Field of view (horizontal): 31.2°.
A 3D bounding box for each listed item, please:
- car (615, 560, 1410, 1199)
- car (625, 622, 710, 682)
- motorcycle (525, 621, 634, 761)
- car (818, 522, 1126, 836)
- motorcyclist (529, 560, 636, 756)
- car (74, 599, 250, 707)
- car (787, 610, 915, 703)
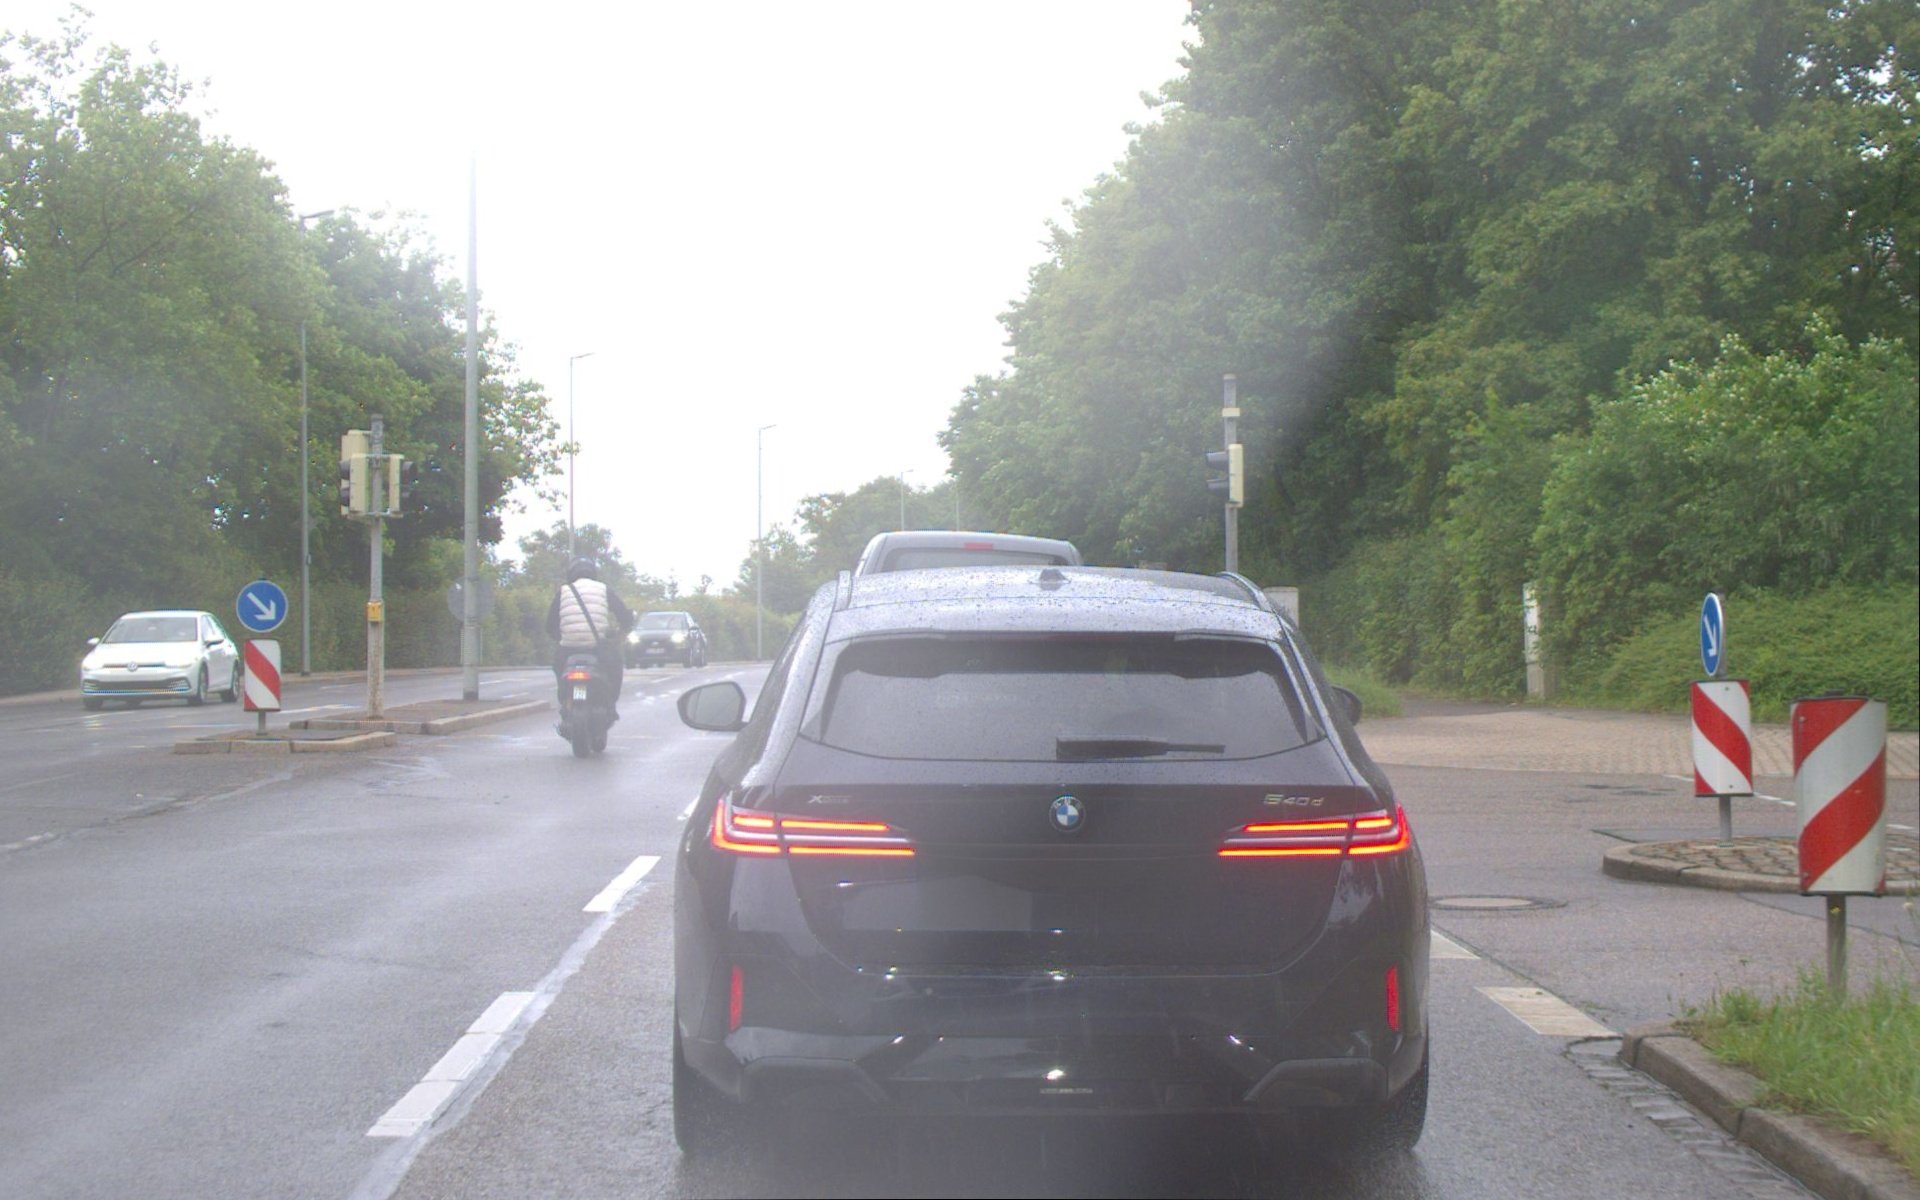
[{"bbox_3d":[0.123,0.671,9.544,1.764,1.531,3.673,1,1,0],"label":"car"},{"bbox_3d":[-7.990,1.413,94.284,2.025,1.558,3.877,-1,0,-1],"label":"car"},{"bbox_3d":[-3.206,0.755,29.063,0.741,1.116,1.426,1,1,0],"label":"motorcycle"},{"bbox_3d":[0.077,0.430,21.986,1.767,1.804,3.905,1,1,0],"label":"car"},{"bbox_3d":[-3.186,0.487,29.064,0.845,1.641,0.468,0,0,0],"label":"motorcyclist"},{"bbox_3d":[-12.103,0.773,52.377,1.727,1.480,4.157,-2,0,-1],"label":"car"},{"bbox_3d":[-1.825,0.934,58.726,2.015,1.410,4.486,1,1,0],"label":"car"}]
